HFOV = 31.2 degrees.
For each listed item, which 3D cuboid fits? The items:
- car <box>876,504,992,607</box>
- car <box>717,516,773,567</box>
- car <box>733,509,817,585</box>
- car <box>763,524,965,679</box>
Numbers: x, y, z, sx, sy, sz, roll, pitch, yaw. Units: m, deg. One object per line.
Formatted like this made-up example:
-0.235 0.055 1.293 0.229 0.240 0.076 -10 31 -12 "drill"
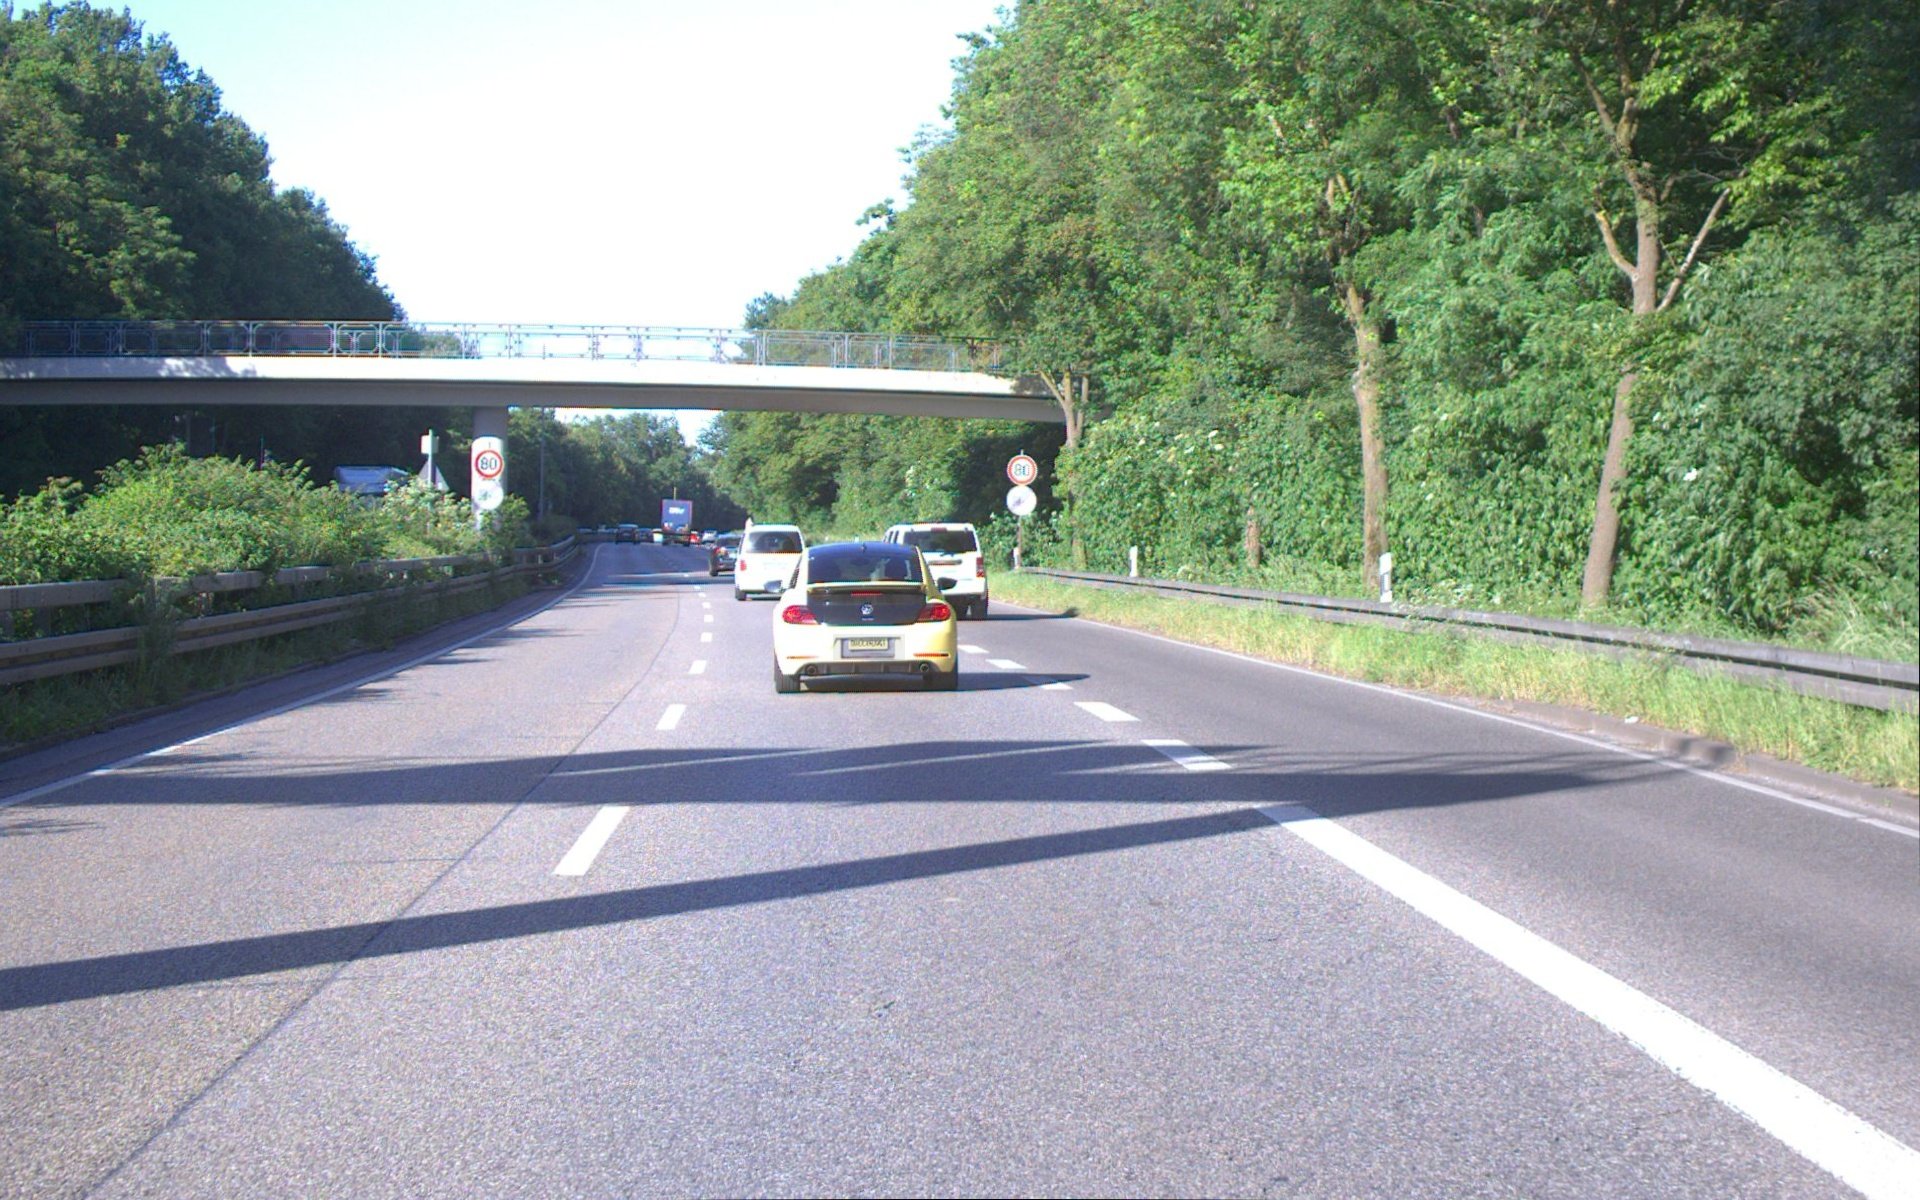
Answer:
-0.514 -0.838 63.069 1.897 1.817 4.001 0 1 -4 "car"
-7.678 -2.082 122.334 1.897 1.761 4.001 0 1 -5 "car"
-4.457 -1.284 82.201 1.897 1.761 4.001 0 1 -4 "car"
-1.024 -0.031 34.695 1.897 1.466 4.001 0 1 -3 "car"
